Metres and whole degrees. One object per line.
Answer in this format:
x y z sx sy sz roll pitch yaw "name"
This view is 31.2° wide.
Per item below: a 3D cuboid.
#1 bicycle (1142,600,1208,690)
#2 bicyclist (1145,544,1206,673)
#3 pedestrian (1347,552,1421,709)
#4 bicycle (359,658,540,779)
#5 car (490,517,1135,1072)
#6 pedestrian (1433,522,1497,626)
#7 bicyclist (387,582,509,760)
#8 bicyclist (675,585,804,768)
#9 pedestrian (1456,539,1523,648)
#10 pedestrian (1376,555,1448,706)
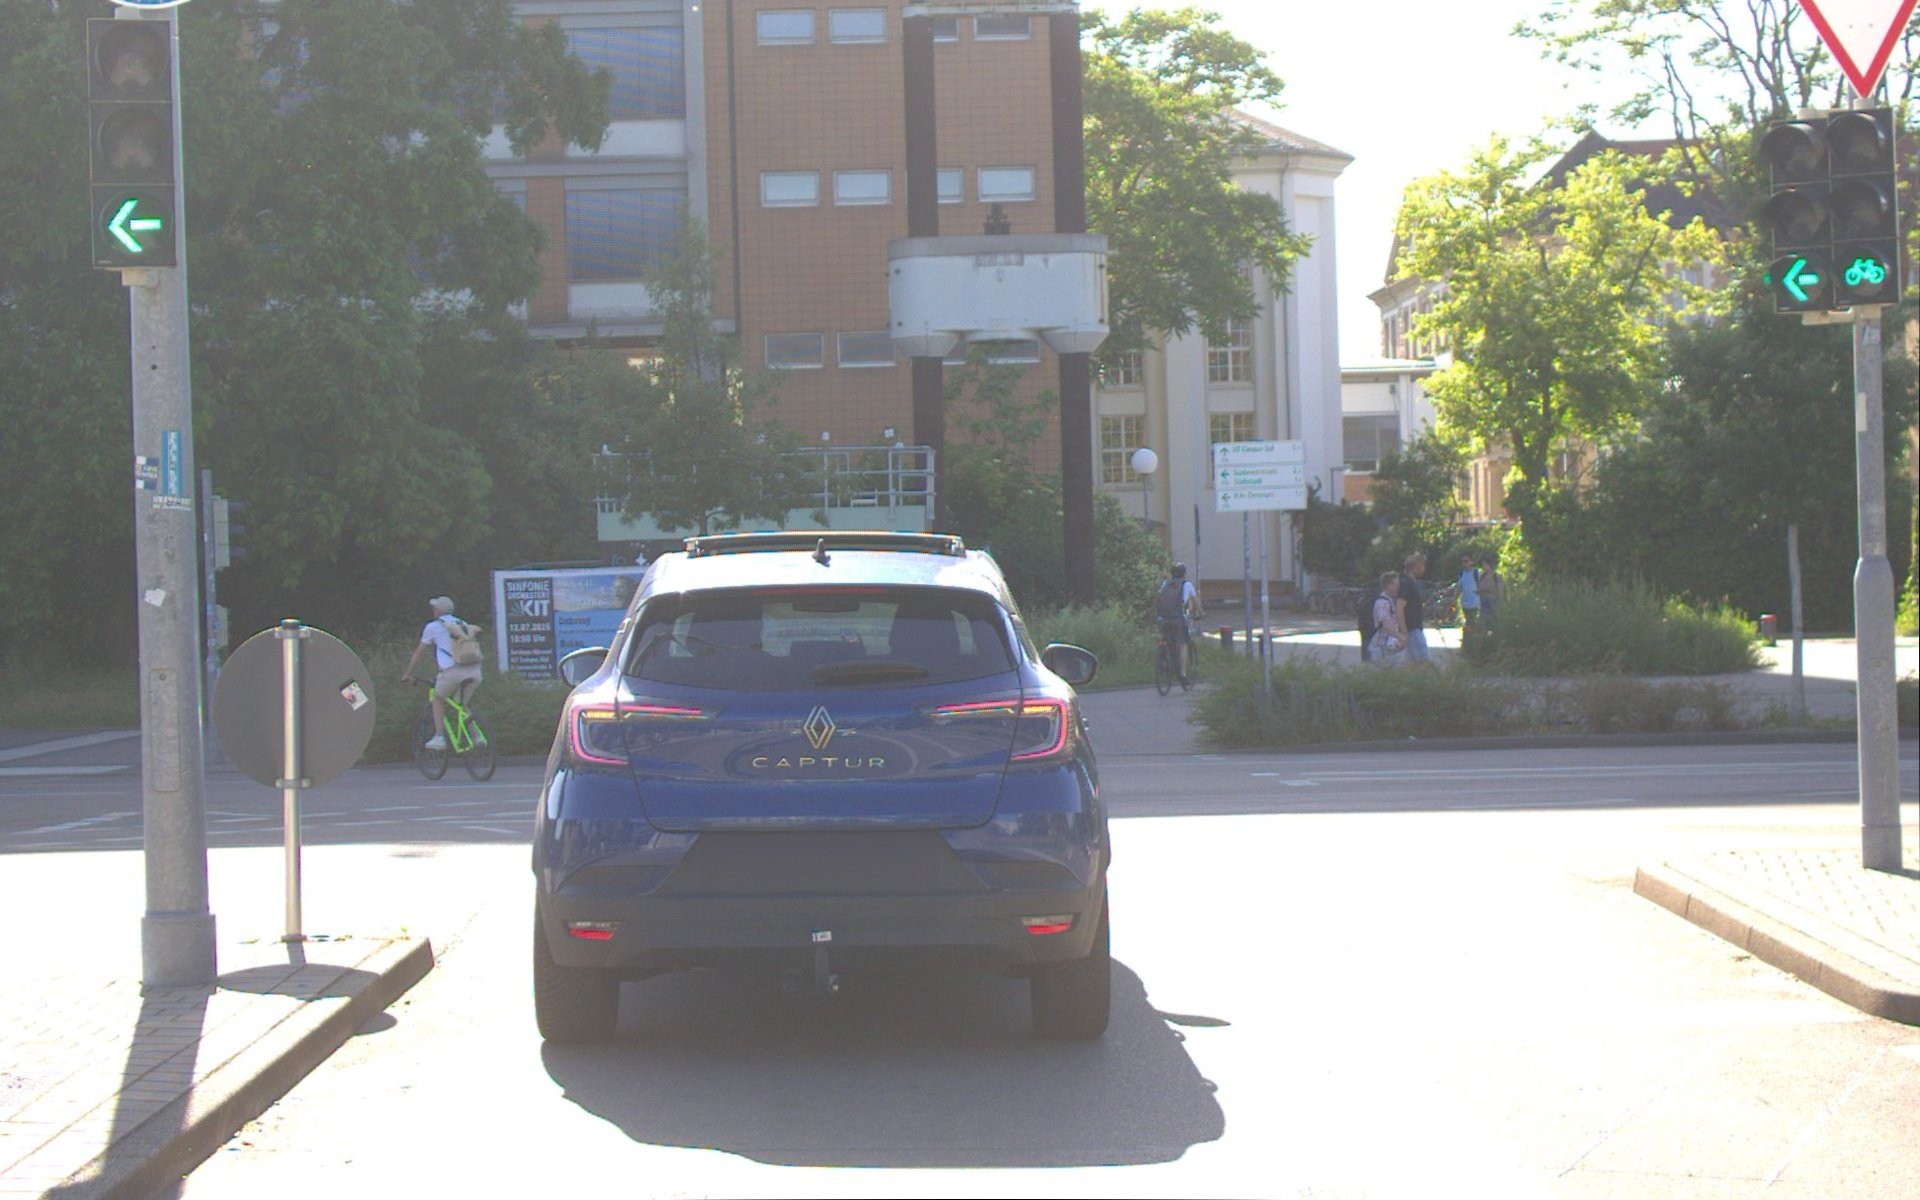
2.928 0.595 46.637 0.746 1.161 1.870 -1 1 8 "bicycle"
2.925 0.108 46.649 0.720 1.729 0.977 -1 0 8 "bicyclist"
4.975 0.351 40.313 0.734 1.810 0.731 1 0 17 "pedestrian"
-5.168 1.180 34.747 1.868 1.161 0.746 -1 1 40 "bicycle"
-0.441 0.547 11.954 1.876 1.612 3.798 0 1 0 "car"
8.049 -0.416 54.811 0.734 1.637 0.677 1 0 -38 "pedestrian"
-5.172 0.707 34.734 0.977 1.757 0.720 -1 1 40 "bicyclist"
-1.998 0.681 31.089 0.720 1.611 0.977 -2 1 -36 "bicyclist"
8.015 -0.101 52.063 0.677 1.637 0.734 1 0 45 "pedestrian"
5.422 0.360 41.215 0.734 1.776 0.731 1 0 17 "pedestrian"
